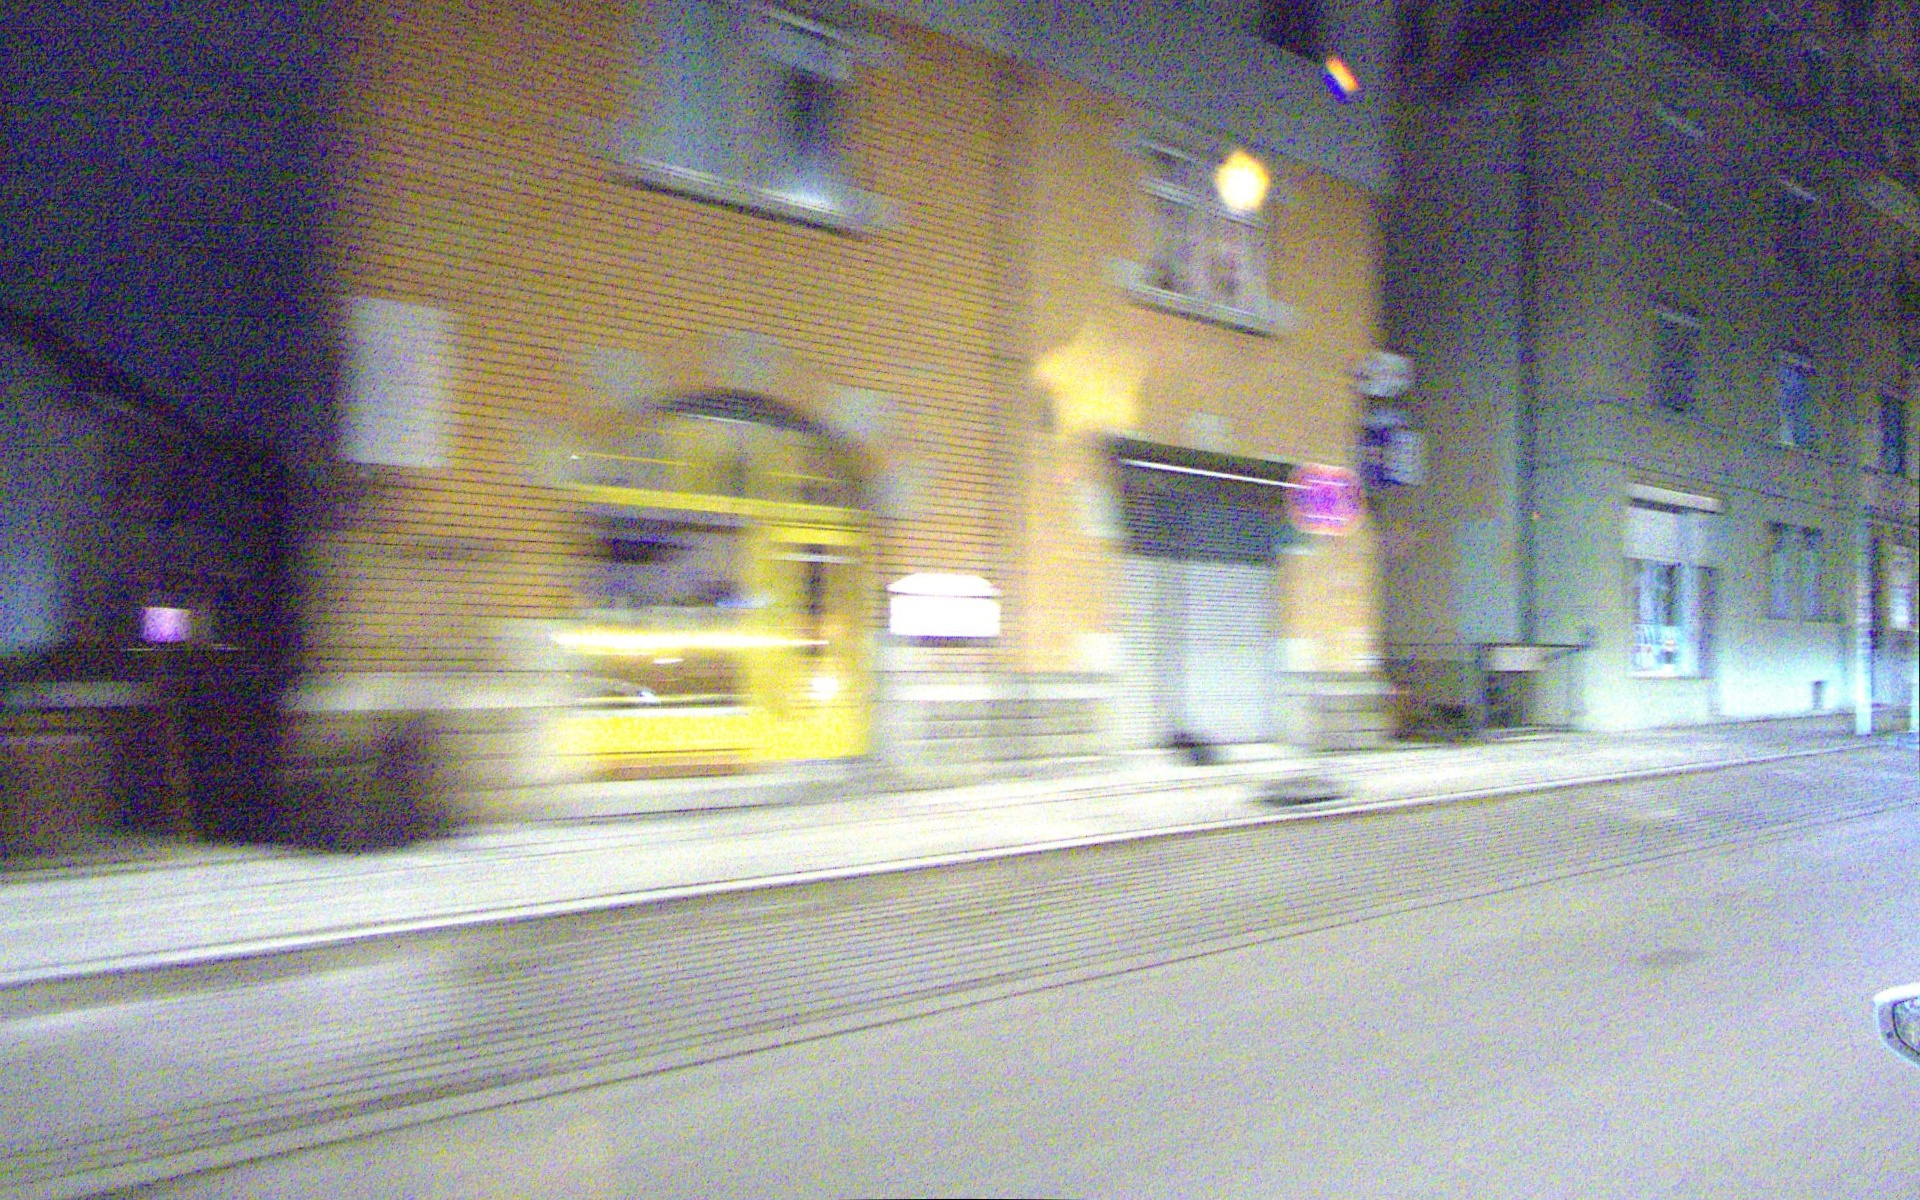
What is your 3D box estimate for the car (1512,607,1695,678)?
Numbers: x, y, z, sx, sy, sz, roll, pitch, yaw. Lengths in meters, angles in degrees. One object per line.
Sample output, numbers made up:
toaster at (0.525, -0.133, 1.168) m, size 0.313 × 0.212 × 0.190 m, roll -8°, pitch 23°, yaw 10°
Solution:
car at (25.784, 1.659, 40.502) m, size 2.222 × 2.577 × 5.817 m, roll 4°, pitch -3°, yaw -30°
